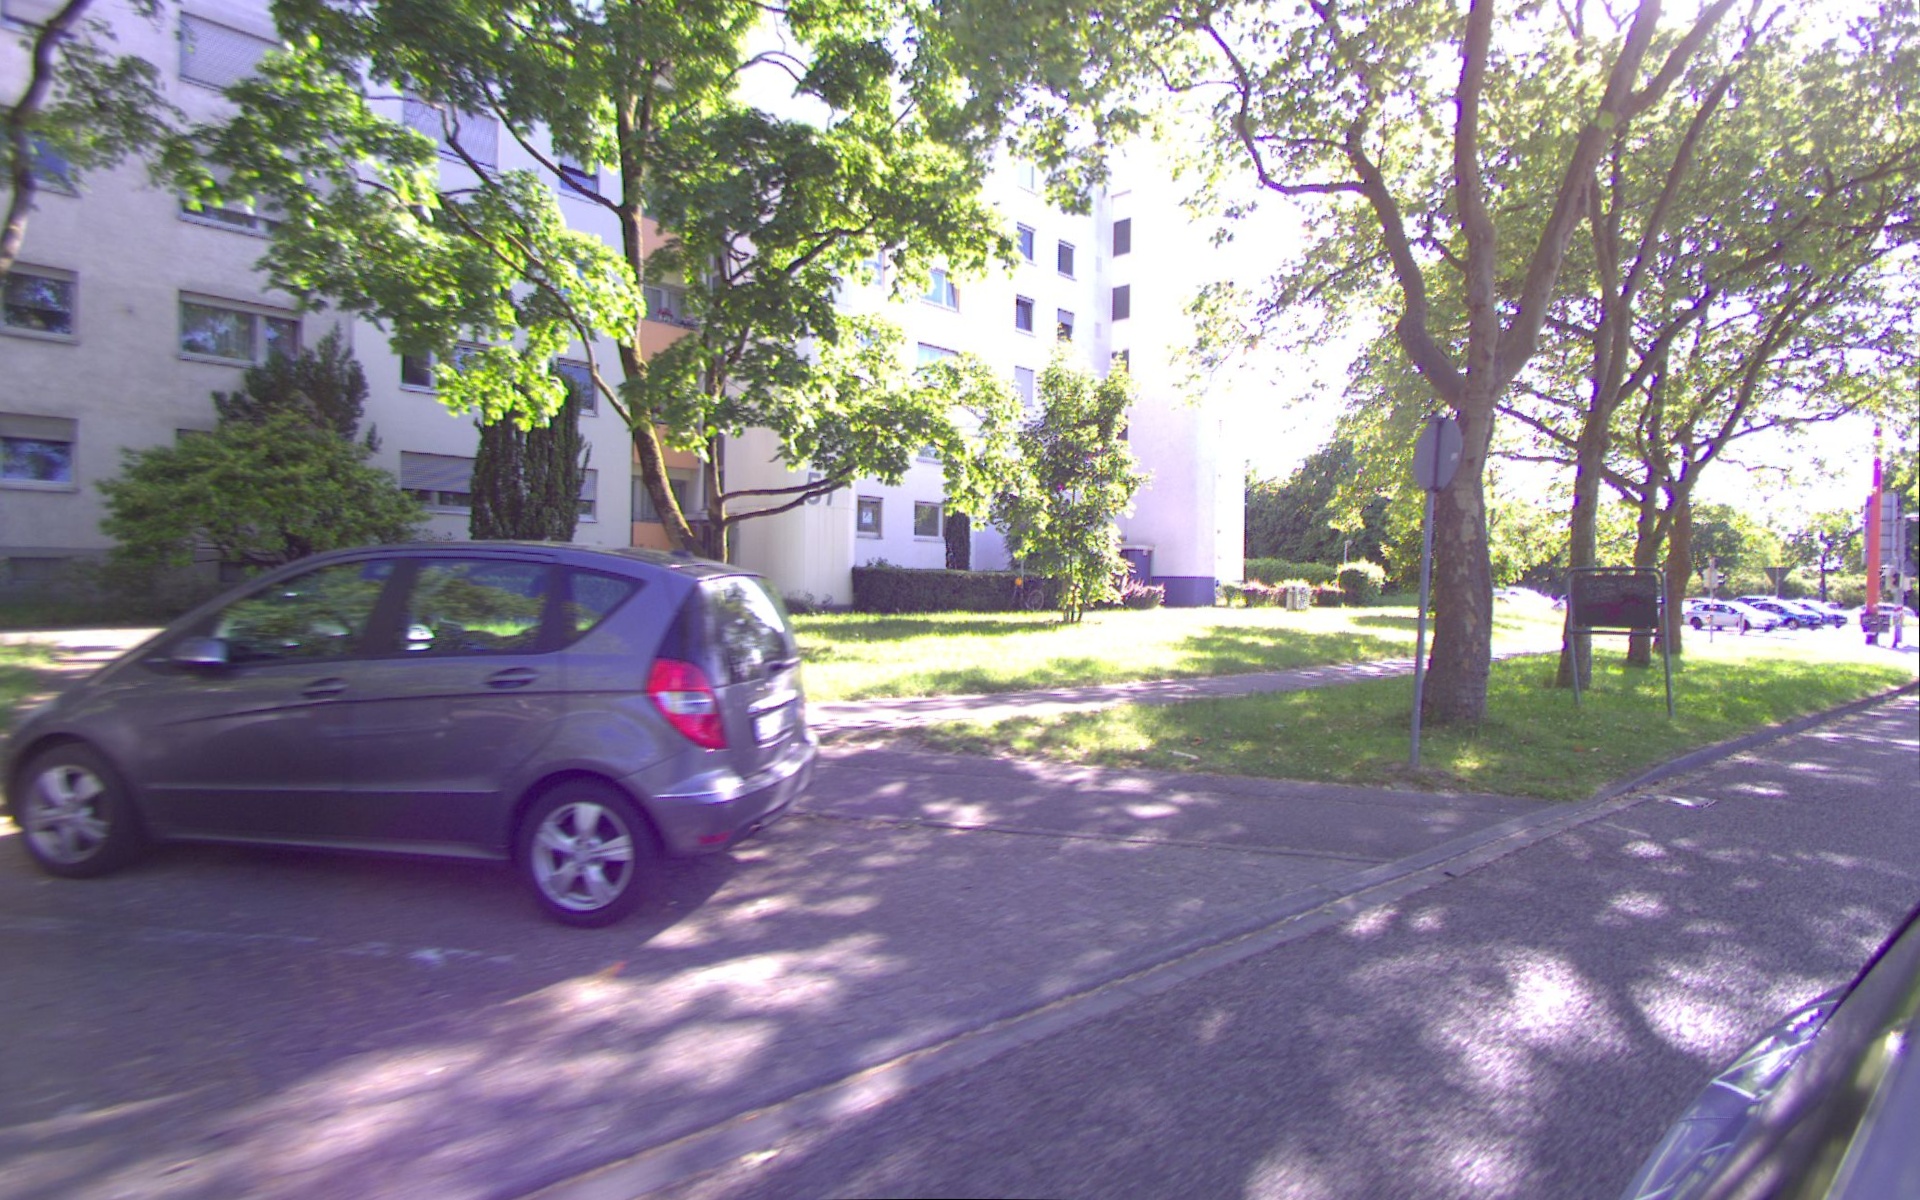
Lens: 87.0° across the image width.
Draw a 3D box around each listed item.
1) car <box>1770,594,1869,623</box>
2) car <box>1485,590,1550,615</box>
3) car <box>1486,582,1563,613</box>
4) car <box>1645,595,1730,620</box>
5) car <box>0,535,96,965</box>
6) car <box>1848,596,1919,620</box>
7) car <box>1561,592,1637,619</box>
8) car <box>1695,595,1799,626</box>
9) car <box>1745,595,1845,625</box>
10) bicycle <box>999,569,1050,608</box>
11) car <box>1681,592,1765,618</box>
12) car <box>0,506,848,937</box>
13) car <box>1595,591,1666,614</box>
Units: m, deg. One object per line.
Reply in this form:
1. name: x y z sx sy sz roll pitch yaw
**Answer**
1. car: 48.704 0.438 57.432 1.762 1.500 4.008 -1 1 -12
2. car: 38.720 0.157 70.369 1.762 1.604 4.008 -1 1 -12
3. car: 41.734 -0.226 75.016 2.049 2.113 5.204 0 1 -12
4. car: 44.182 0.412 61.568 1.762 1.409 4.008 -1 1 -12
5. car: -5.169 0.473 3.237 3.524 1.510 1.796 2 1 9
6. car: 64.717 0.574 70.338 1.762 1.529 4.256 1 1 -15
7. car: 40.102 0.317 63.621 1.762 1.529 4.008 -1 1 -12
8. car: 42.180 0.522 54.385 1.762 1.500 4.294 -1 1 -12
9. car: 45.716 0.497 55.539 1.762 1.500 4.008 -1 1 -12
10. bicycle: 2.022 -0.354 31.410 0.499 1.120 1.772 8 5 43
11. car: 47.802 0.306 63.512 1.762 1.529 4.008 -1 1 -12
12. car: -2.600 0.426 5.166 3.666 1.612 1.796 2 1 9
13. car: 46.142 0.163 69.764 1.762 1.500 4.008 -1 1 -12
